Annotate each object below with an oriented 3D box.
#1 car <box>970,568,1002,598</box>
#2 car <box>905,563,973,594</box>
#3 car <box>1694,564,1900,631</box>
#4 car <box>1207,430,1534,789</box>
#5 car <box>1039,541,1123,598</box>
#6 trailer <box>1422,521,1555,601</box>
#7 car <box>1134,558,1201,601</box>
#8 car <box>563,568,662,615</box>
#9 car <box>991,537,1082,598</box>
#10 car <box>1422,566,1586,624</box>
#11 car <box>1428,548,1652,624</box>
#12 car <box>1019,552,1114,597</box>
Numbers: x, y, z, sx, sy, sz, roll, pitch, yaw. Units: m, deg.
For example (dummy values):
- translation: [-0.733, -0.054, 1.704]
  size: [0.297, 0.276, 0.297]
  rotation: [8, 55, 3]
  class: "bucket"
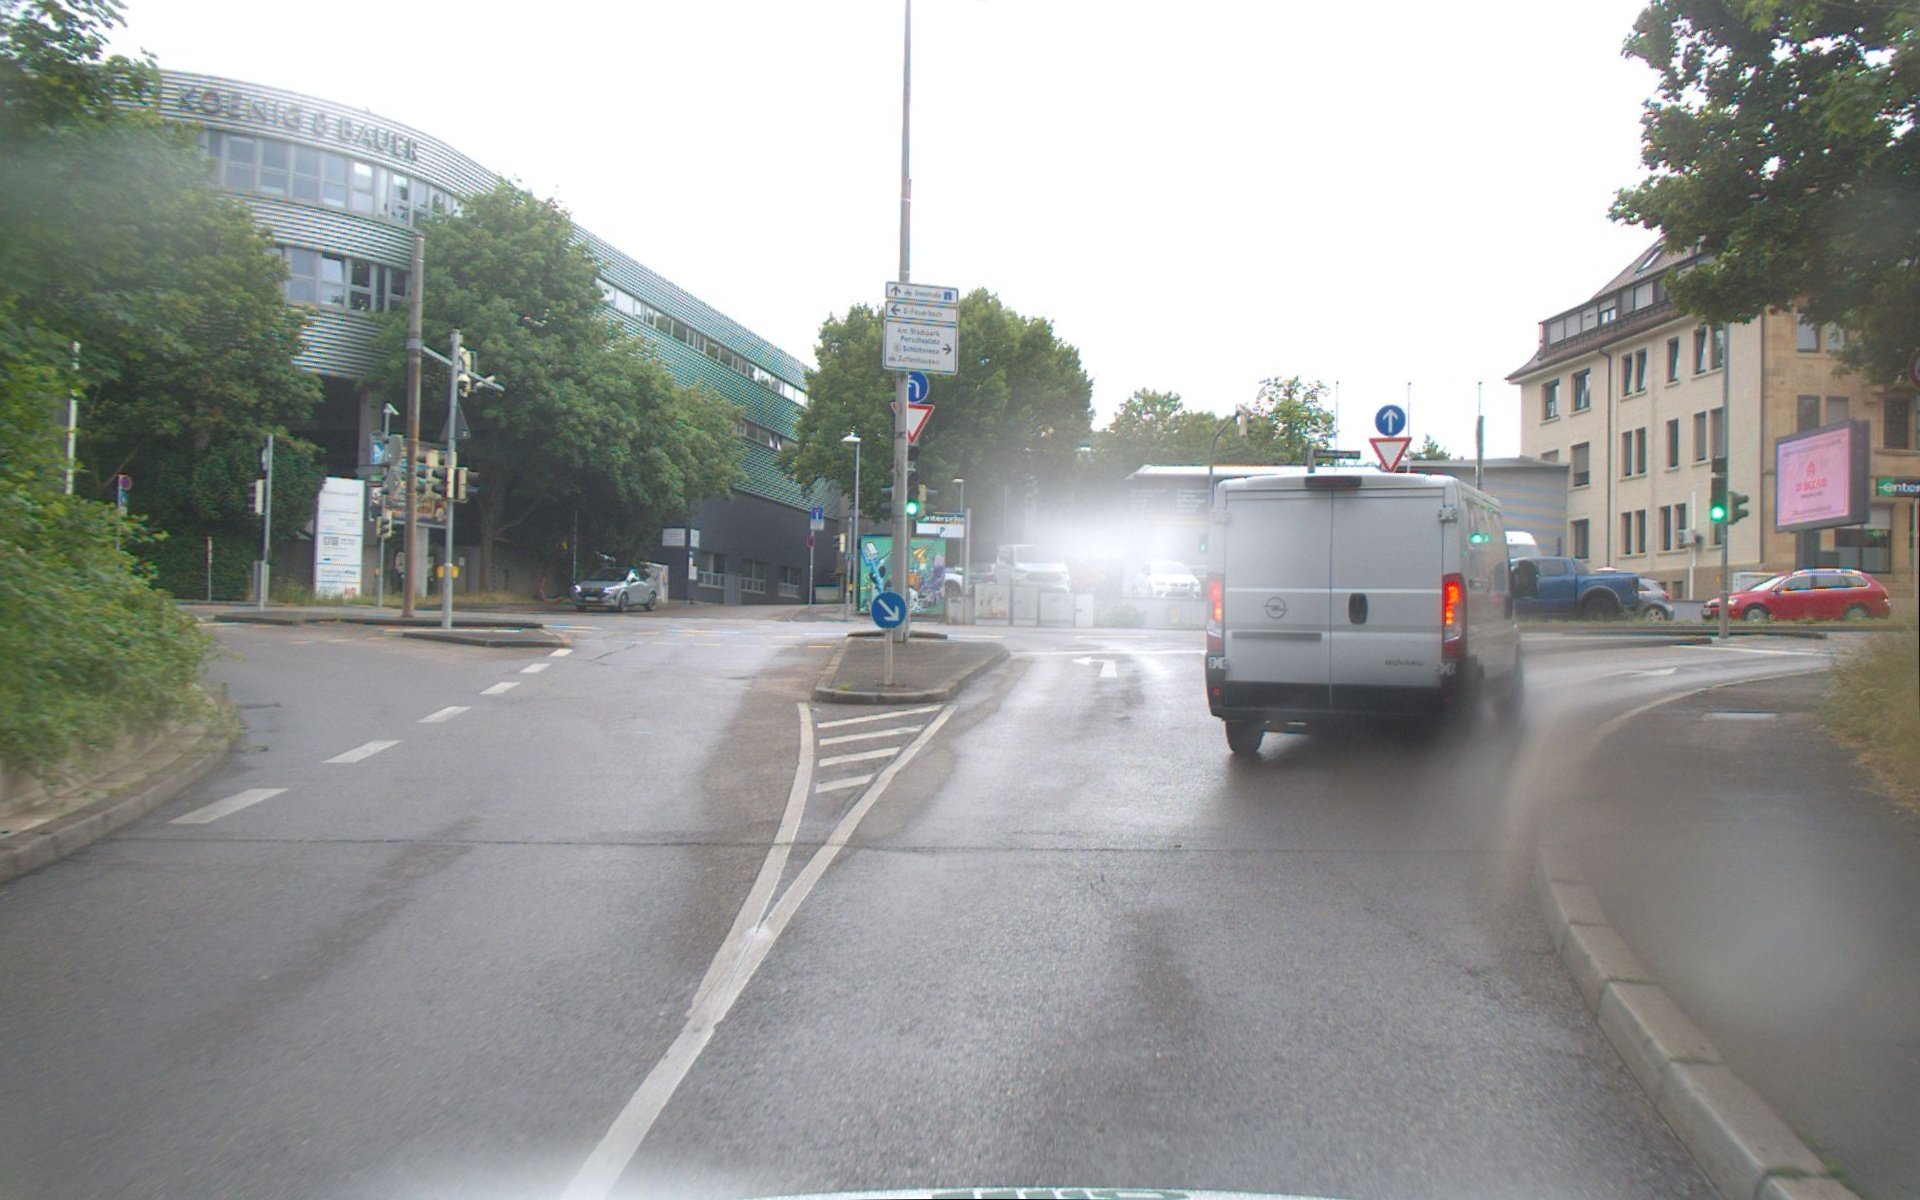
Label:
- translation: [1.242, -0.810, 78.530]
  size: [1.183, 1.326, 2.340]
  rotation: [1, -2, 8]
  class: "car"
- translation: [-0.875, -0.866, 67.477]
  size: [2.660, 1.124, 1.196]
  rotation: [1, -2, -6]
  class: "car"
- translation: [21.273, -0.053, 42.142]
  size: [4.337, 1.558, 1.811]
  rotation: [1, -2, -1]
  class: "car"
- translation: [3.772, -0.042, 14.472]
  size: [2.008, 2.560, 4.943]
  rotation: [1, 2, 23]
  class: "car"
- translation: [5.775, -1.448, 78.639]
  size: [3.890, 2.542, 1.655]
  rotation: [1, -2, 6]
  class: "car"
- translation: [18.960, -1.327, 59.775]
  size: [2.339, 2.471, 7.117]
  rotation: [1, -2, -2]
  class: "trailer"
- translation: [7.123, -0.725, 56.990]
  size: [1.829, 1.392, 3.623]
  rotation: [1, 1, 0]
  class: "car"
- translation: [-12.851, -0.349, 61.440]
  size: [1.984, 1.627, 4.386]
  rotation: [1, 1, 12]
  class: "car"
- translation: [2.577, -1.070, 56.975]
  size: [2.171, 1.833, 5.362]
  rotation: [1, -2, -8]
  class: "car"
- translation: [14.901, -0.124, 45.414]
  size: [3.975, 1.484, 1.546]
  rotation: [1, -2, -1]
  class: "car"
- translation: [14.774, -0.345, 42.305]
  size: [5.047, 1.850, 1.940]
  rotation: [0, -2, 0]
  class: "car"
- translation: [4.871, -1.136, 75.266]
  size: [4.205, 1.893, 1.742]
  rotation: [1, -2, 6]
  class: "car"
